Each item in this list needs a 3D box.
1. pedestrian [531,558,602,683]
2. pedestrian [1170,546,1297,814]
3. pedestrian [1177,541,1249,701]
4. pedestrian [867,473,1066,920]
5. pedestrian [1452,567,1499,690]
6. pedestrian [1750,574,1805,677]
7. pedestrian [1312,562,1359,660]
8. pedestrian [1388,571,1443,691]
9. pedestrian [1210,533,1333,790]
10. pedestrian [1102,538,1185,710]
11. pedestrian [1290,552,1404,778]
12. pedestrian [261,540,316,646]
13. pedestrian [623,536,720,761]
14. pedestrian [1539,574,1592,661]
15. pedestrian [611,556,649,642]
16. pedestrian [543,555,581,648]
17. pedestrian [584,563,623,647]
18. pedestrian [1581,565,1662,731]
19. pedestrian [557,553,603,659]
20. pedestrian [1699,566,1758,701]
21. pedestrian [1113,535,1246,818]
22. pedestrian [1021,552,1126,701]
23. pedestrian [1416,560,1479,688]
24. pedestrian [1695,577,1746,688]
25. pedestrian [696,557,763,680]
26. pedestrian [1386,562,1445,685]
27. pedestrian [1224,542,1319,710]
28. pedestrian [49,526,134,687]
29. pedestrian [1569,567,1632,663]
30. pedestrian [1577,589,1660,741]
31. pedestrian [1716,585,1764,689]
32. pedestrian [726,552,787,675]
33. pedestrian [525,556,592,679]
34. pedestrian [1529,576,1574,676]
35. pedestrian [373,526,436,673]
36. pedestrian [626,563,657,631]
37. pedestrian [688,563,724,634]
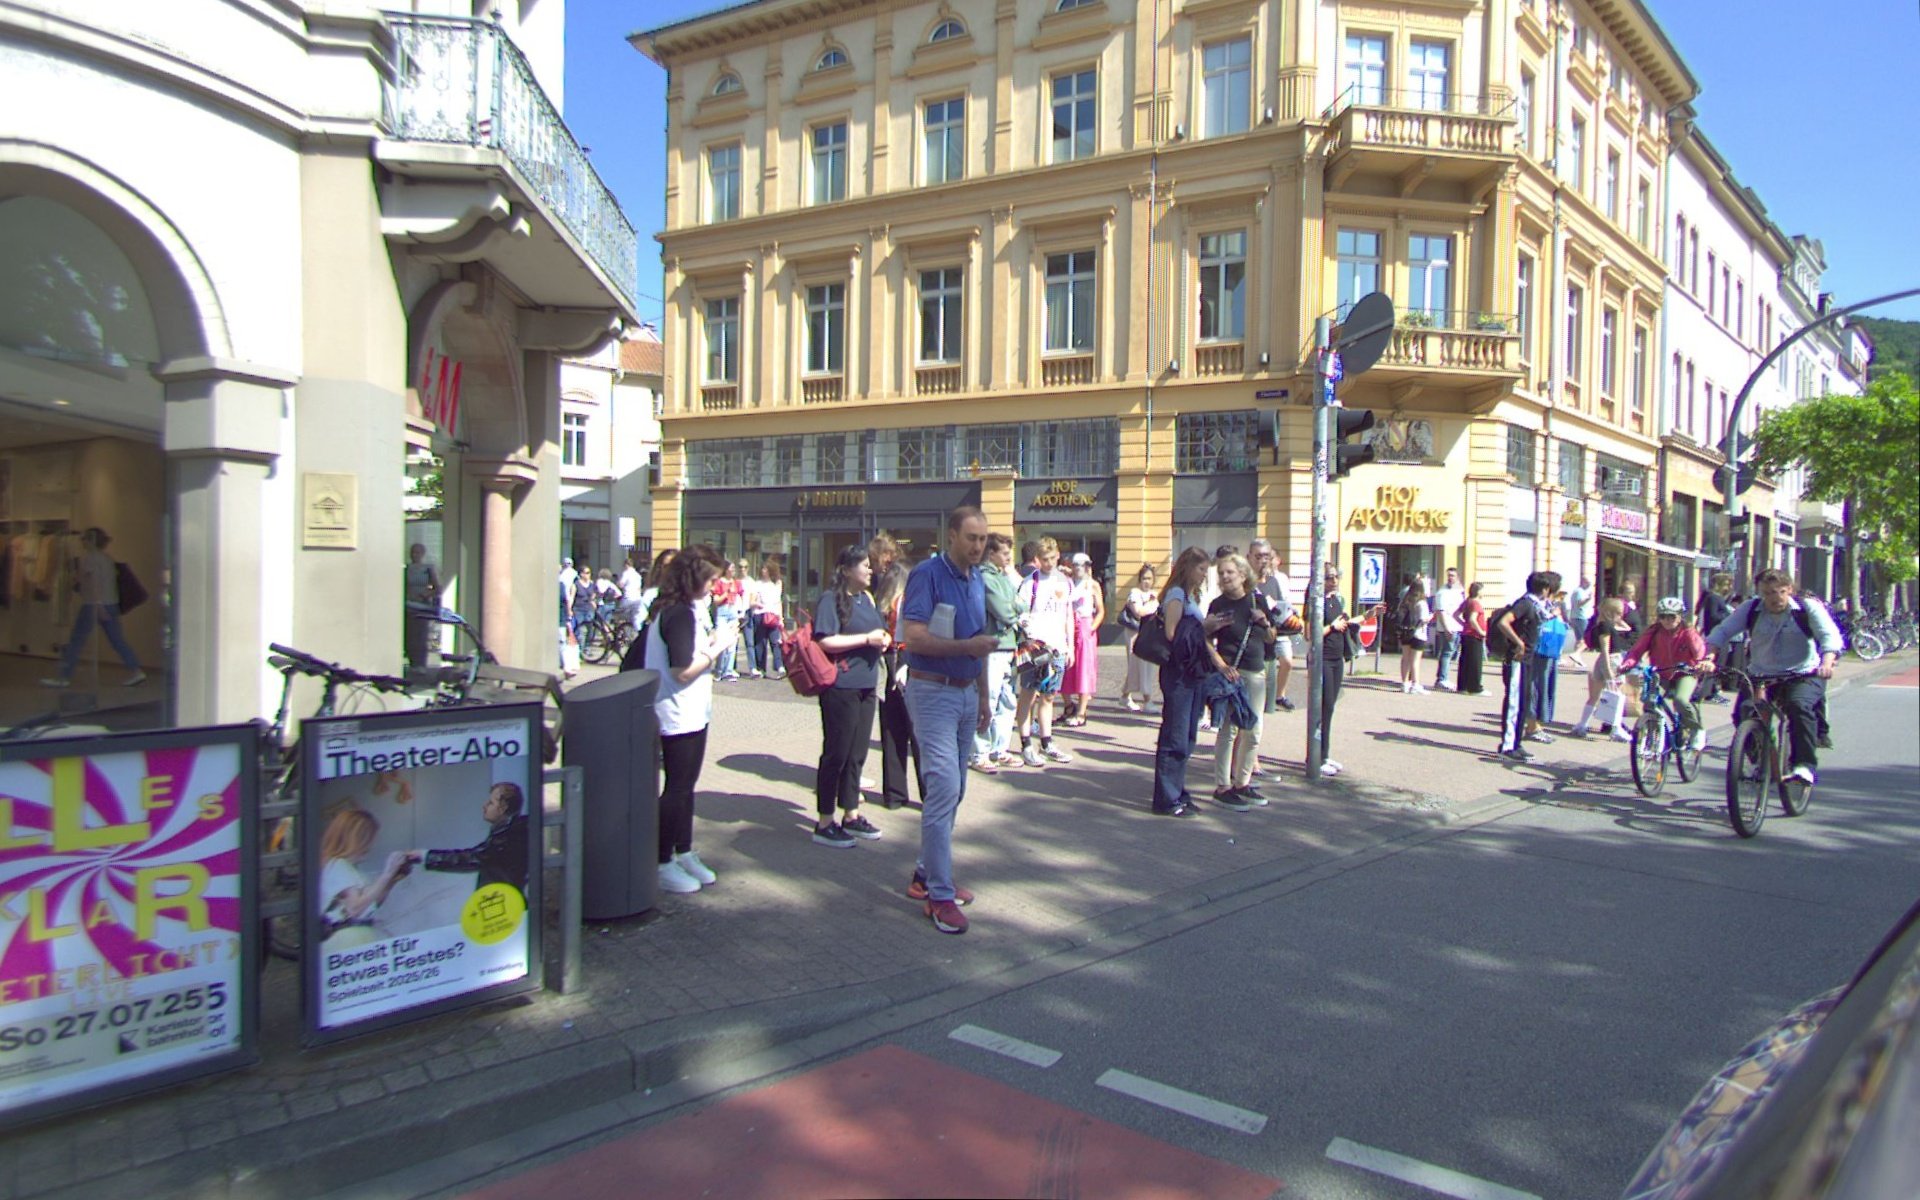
[{"bbox_3d":[-4.984,0.251,12.834,0.572,1.531,0.617,-1,-1,25],"label":"pedestrian"},{"bbox_3d":[1.849,0.502,6.851,0.581,1.705,0.568,0,2,-45],"label":"pedestrian"},{"bbox_3d":[3.058,0.244,12.246,0.611,1.869,0.577,0,-1,-41],"label":"pedestrian"},{"bbox_3d":[0.035,0.400,4.692,0.706,1.869,0.577,0,-1,-45],"label":"pedestrian"},{"bbox_3d":[7.347,0.387,14.422,0.470,1.710,0.443,0,1,-41],"label":"pedestrian"},{"bbox_3d":[14.931,0.449,18.504,0.646,1.801,0.615,3,3,33],"label":"pedestrian"},{"bbox_3d":[7.199,0.196,19.382,0.741,1.828,0.728,1,1,28],"label":"pedestrian"},{"bbox_3d":[6.377,0.414,14.167,0.525,1.624,0.513,0,1,-41],"label":"pedestrian"},{"bbox_3d":[2.326,0.420,7.544,0.688,1.807,0.577,0,2,-45],"label":"pedestrian"},{"bbox_3d":[2.073,0.257,11.446,0.611,1.869,0.664,0,-1,-41],"label":"pedestrian"},{"bbox_3d":[3.103,0.483,8.116,0.658,1.705,0.577,0,3,-45],"label":"pedestrian"},{"bbox_3d":[-12.064,-0.118,18.183,0.572,1.869,0.617,-1,-1,25],"label":"pedestrian"},{"bbox_3d":[-2.120,0.345,7.490,0.571,1.604,0.518,-1,-1,-2],"label":"pedestrian"},{"bbox_3d":[12.130,0.339,20.298,0.566,1.705,0.689,1,0,-14],"label":"pedestrian"},{"bbox_3d":[-7.341,-0.023,22.503,0.611,1.869,0.577,0,-1,-41],"label":"pedestrian"},{"bbox_3d":[-8.237,0.030,20.956,0.527,1.869,0.692,0,-1,-41],"label":"pedestrian"},{"bbox_3d":[-7.628,0.111,21.654,0.611,1.762,0.577,0,-1,-41],"label":"pedestrian"},{"bbox_3d":[7.388,0.517,11.301,0.576,1.752,0.708,4,1,41],"label":"pedestrian"},{"bbox_3d":[-6.862,0.112,18.286,0.611,1.869,0.577,0,-1,-41],"label":"pedestrian"},{"bbox_3d":[11.198,0.465,14.765,0.575,1.897,0.671,4,2,36],"label":"pedestrian"},{"bbox_3d":[1.416,0.458,6.525,0.612,1.706,0.577,0,-1,-45],"label":"pedestrian"},{"bbox_3d":[1.433,0.311,12.715,1.163,1.780,0.622,0,-1,-34],"label":"pedestrian"},{"bbox_3d":[7.242,0.342,15.045,0.594,1.837,0.578,0,3,-41],"label":"pedestrian"},{"bbox_3d":[12.170,0.498,16.208,0.575,1.705,0.668,3,2,36],"label":"pedestrian"},{"bbox_3d":[-3.245,0.246,14.240,0.611,1.668,0.797,0,-1,-41],"label":"pedestrian"},{"bbox_3d":[6.664,0.326,14.802,0.611,1.747,0.577,0,1,-41],"label":"pedestrian"},{"bbox_3d":[3.578,0.287,11.665,0.838,1.869,0.624,-1,-1,-8],"label":"pedestrian"},{"bbox_3d":[-9.598,0.068,11.205,0.692,1.713,0.711,0,-1,-40],"label":"pedestrian"},{"bbox_3d":[12.425,0.281,19.644,0.844,1.815,0.758,0,1,-36],"label":"pedestrian"},{"bbox_3d":[6.960,0.657,10.702,0.668,1.515,0.630,2,2,34],"label":"pedestrian"},{"bbox_3d":[12.651,0.577,16.428,0.528,1.615,0.581,3,3,36],"label":"pedestrian"},{"bbox_3d":[-3.033,0.190,15.108,0.687,1.777,0.577,0,-1,-41],"label":"pedestrian"},{"bbox_3d":[-5.347,0.229,13.489,0.572,1.588,0.586,-1,-1,25],"label":"pedestrian"},{"bbox_3d":[10.169,0.431,17.392,0.575,1.680,0.614,1,1,37],"label":"pedestrian"},{"bbox_3d":[-7.328,-0.003,13.345,0.611,1.869,0.790,0,-1,-38],"label":"pedestrian"},{"bbox_3d":[-8.206,-0.084,26.101,0.570,1.724,0.519,-1,-1,18],"label":"pedestrian"},{"bbox_3d":[-5.948,-0.035,23.671,0.611,1.609,0.577,0,-1,-41],"label":"pedestrian"}]
